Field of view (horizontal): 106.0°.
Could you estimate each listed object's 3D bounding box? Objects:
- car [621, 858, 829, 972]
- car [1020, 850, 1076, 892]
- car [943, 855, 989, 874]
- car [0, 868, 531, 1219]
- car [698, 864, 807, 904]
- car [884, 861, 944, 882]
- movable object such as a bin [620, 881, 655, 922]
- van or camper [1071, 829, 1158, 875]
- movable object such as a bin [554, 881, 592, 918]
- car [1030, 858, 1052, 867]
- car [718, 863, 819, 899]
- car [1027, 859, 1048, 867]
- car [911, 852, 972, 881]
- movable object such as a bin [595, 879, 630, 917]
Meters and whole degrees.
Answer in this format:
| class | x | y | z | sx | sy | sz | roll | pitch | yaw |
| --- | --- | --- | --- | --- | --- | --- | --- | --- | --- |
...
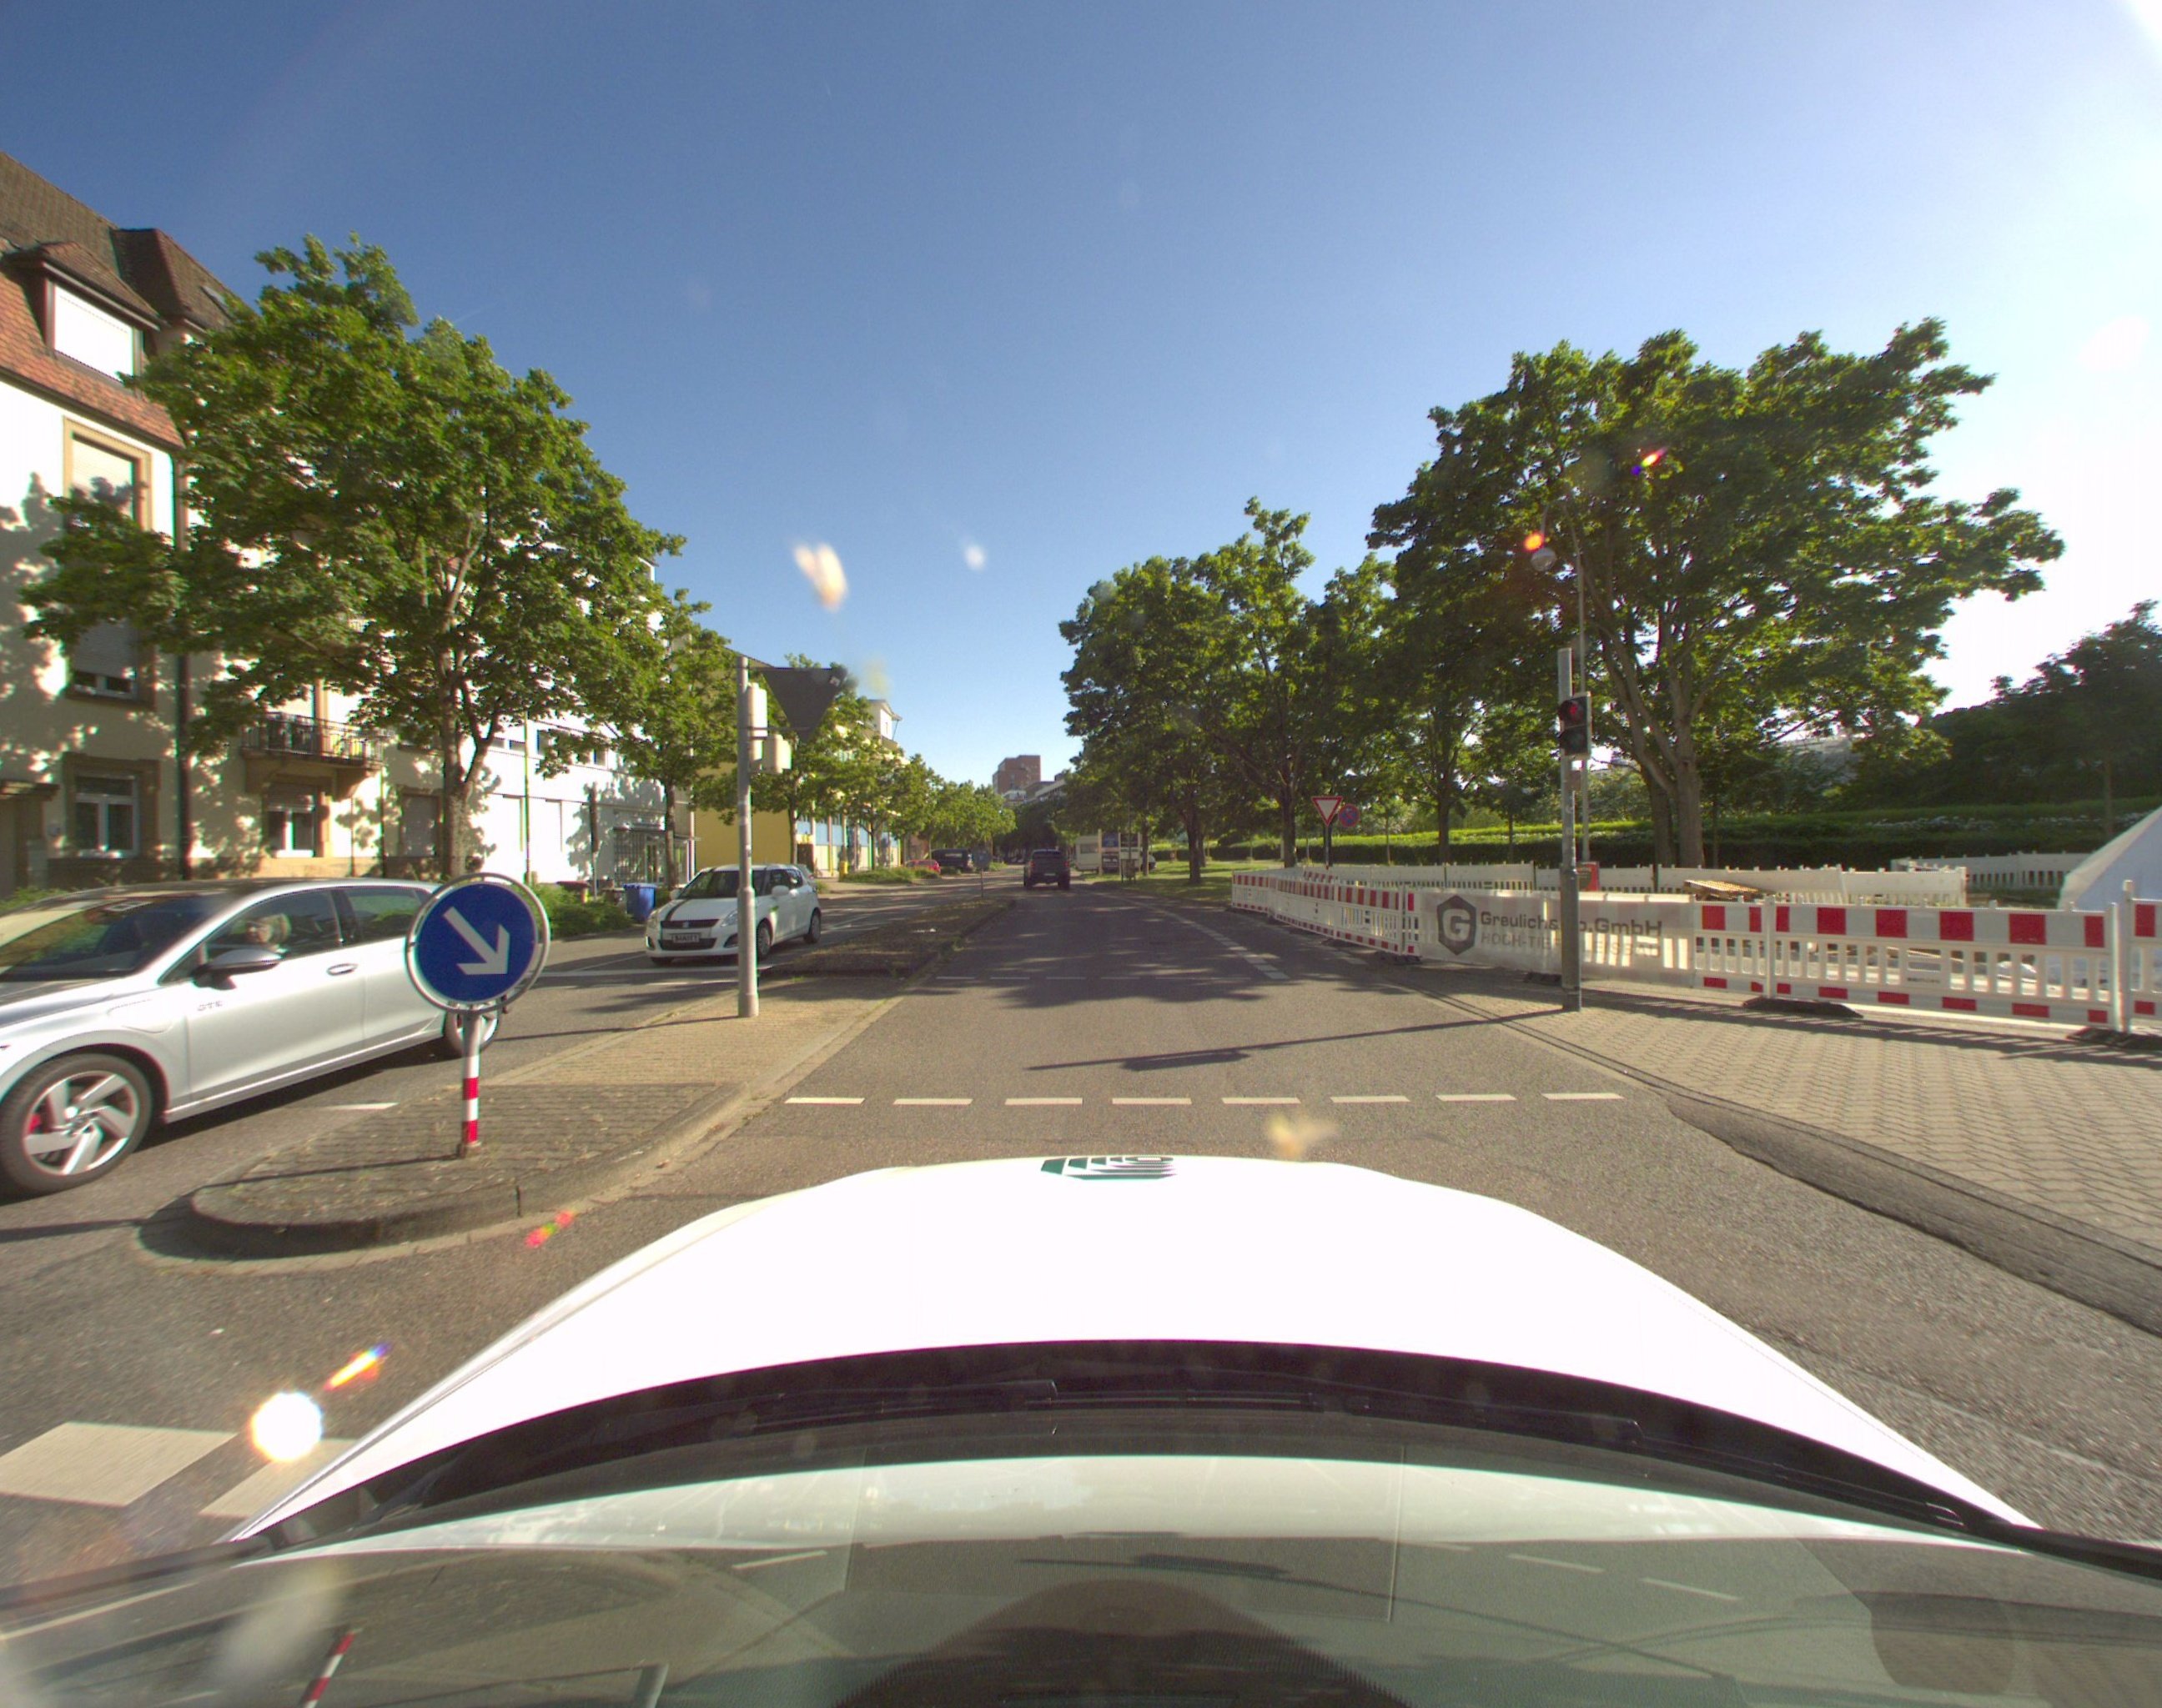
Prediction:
| class | x | y | z | sx | sy | sz | roll | pitch | yaw |
| --- | --- | --- | --- | --- | --- | --- | --- | --- | --- |
| car | -5.683 | 0.887 | 13.570 | 1.699 | 1.512 | 3.862 | -3 | 0 | 0 |
| car | -1.644 | 0.745 | 38.731 | 2.132 | 1.835 | 4.926 | -1 | 0 | -8 |
| car | -13.351 | 1.165 | 94.473 | 4.921 | 2.083 | 1.964 | -1 | -1 | -36 |
| car | -5.603 | 0.867 | 5.156 | 1.703 | 1.452 | 3.848 | -1 | 0 | -2 |
| car | -13.409 | 1.182 | 33.290 | 3.900 | 1.510 | 1.809 | 0 | -1 | -33 |
| car | -13.497 | 1.369 | 65.790 | 4.429 | 1.552 | 1.905 | -1 | 0 | -26 |
| movable object such as a bin | -11.589 | 1.230 | 21.315 | 0.511 | 1.047 | 0.640 | 0 | 0 | 9 |
| van or camper | 2.386 | -0.128 | 59.851 | 6.063 | 2.928 | 2.574 | -3 | 0 | -2 |
| movable object such as a bin | -12.967 | 1.161 | 20.794 | 0.511 | 0.913 | 0.640 | 0 | 0 | 9 |
| car | -7.668 | 1.607 | 156.775 | 3.947 | 1.397 | 1.511 | -3 | 0 | -10 |
| car | -13.861 | 1.164 | 36.174 | 3.900 | 1.510 | 1.809 | 0 | -1 | -32 |
| car | -8.759 | 1.732 | 163.936 | 3.947 | 1.397 | 1.511 | -3 | 0 | -10 |
| car | -13.073 | 1.184 | 76.379 | 5.288 | 2.545 | 1.968 | -1 | -1 | -26 |
| movable object such as a bin | -12.426 | 1.157 | 21.621 | 0.511 | 0.976 | 0.640 | 0 | 0 | 9 |
